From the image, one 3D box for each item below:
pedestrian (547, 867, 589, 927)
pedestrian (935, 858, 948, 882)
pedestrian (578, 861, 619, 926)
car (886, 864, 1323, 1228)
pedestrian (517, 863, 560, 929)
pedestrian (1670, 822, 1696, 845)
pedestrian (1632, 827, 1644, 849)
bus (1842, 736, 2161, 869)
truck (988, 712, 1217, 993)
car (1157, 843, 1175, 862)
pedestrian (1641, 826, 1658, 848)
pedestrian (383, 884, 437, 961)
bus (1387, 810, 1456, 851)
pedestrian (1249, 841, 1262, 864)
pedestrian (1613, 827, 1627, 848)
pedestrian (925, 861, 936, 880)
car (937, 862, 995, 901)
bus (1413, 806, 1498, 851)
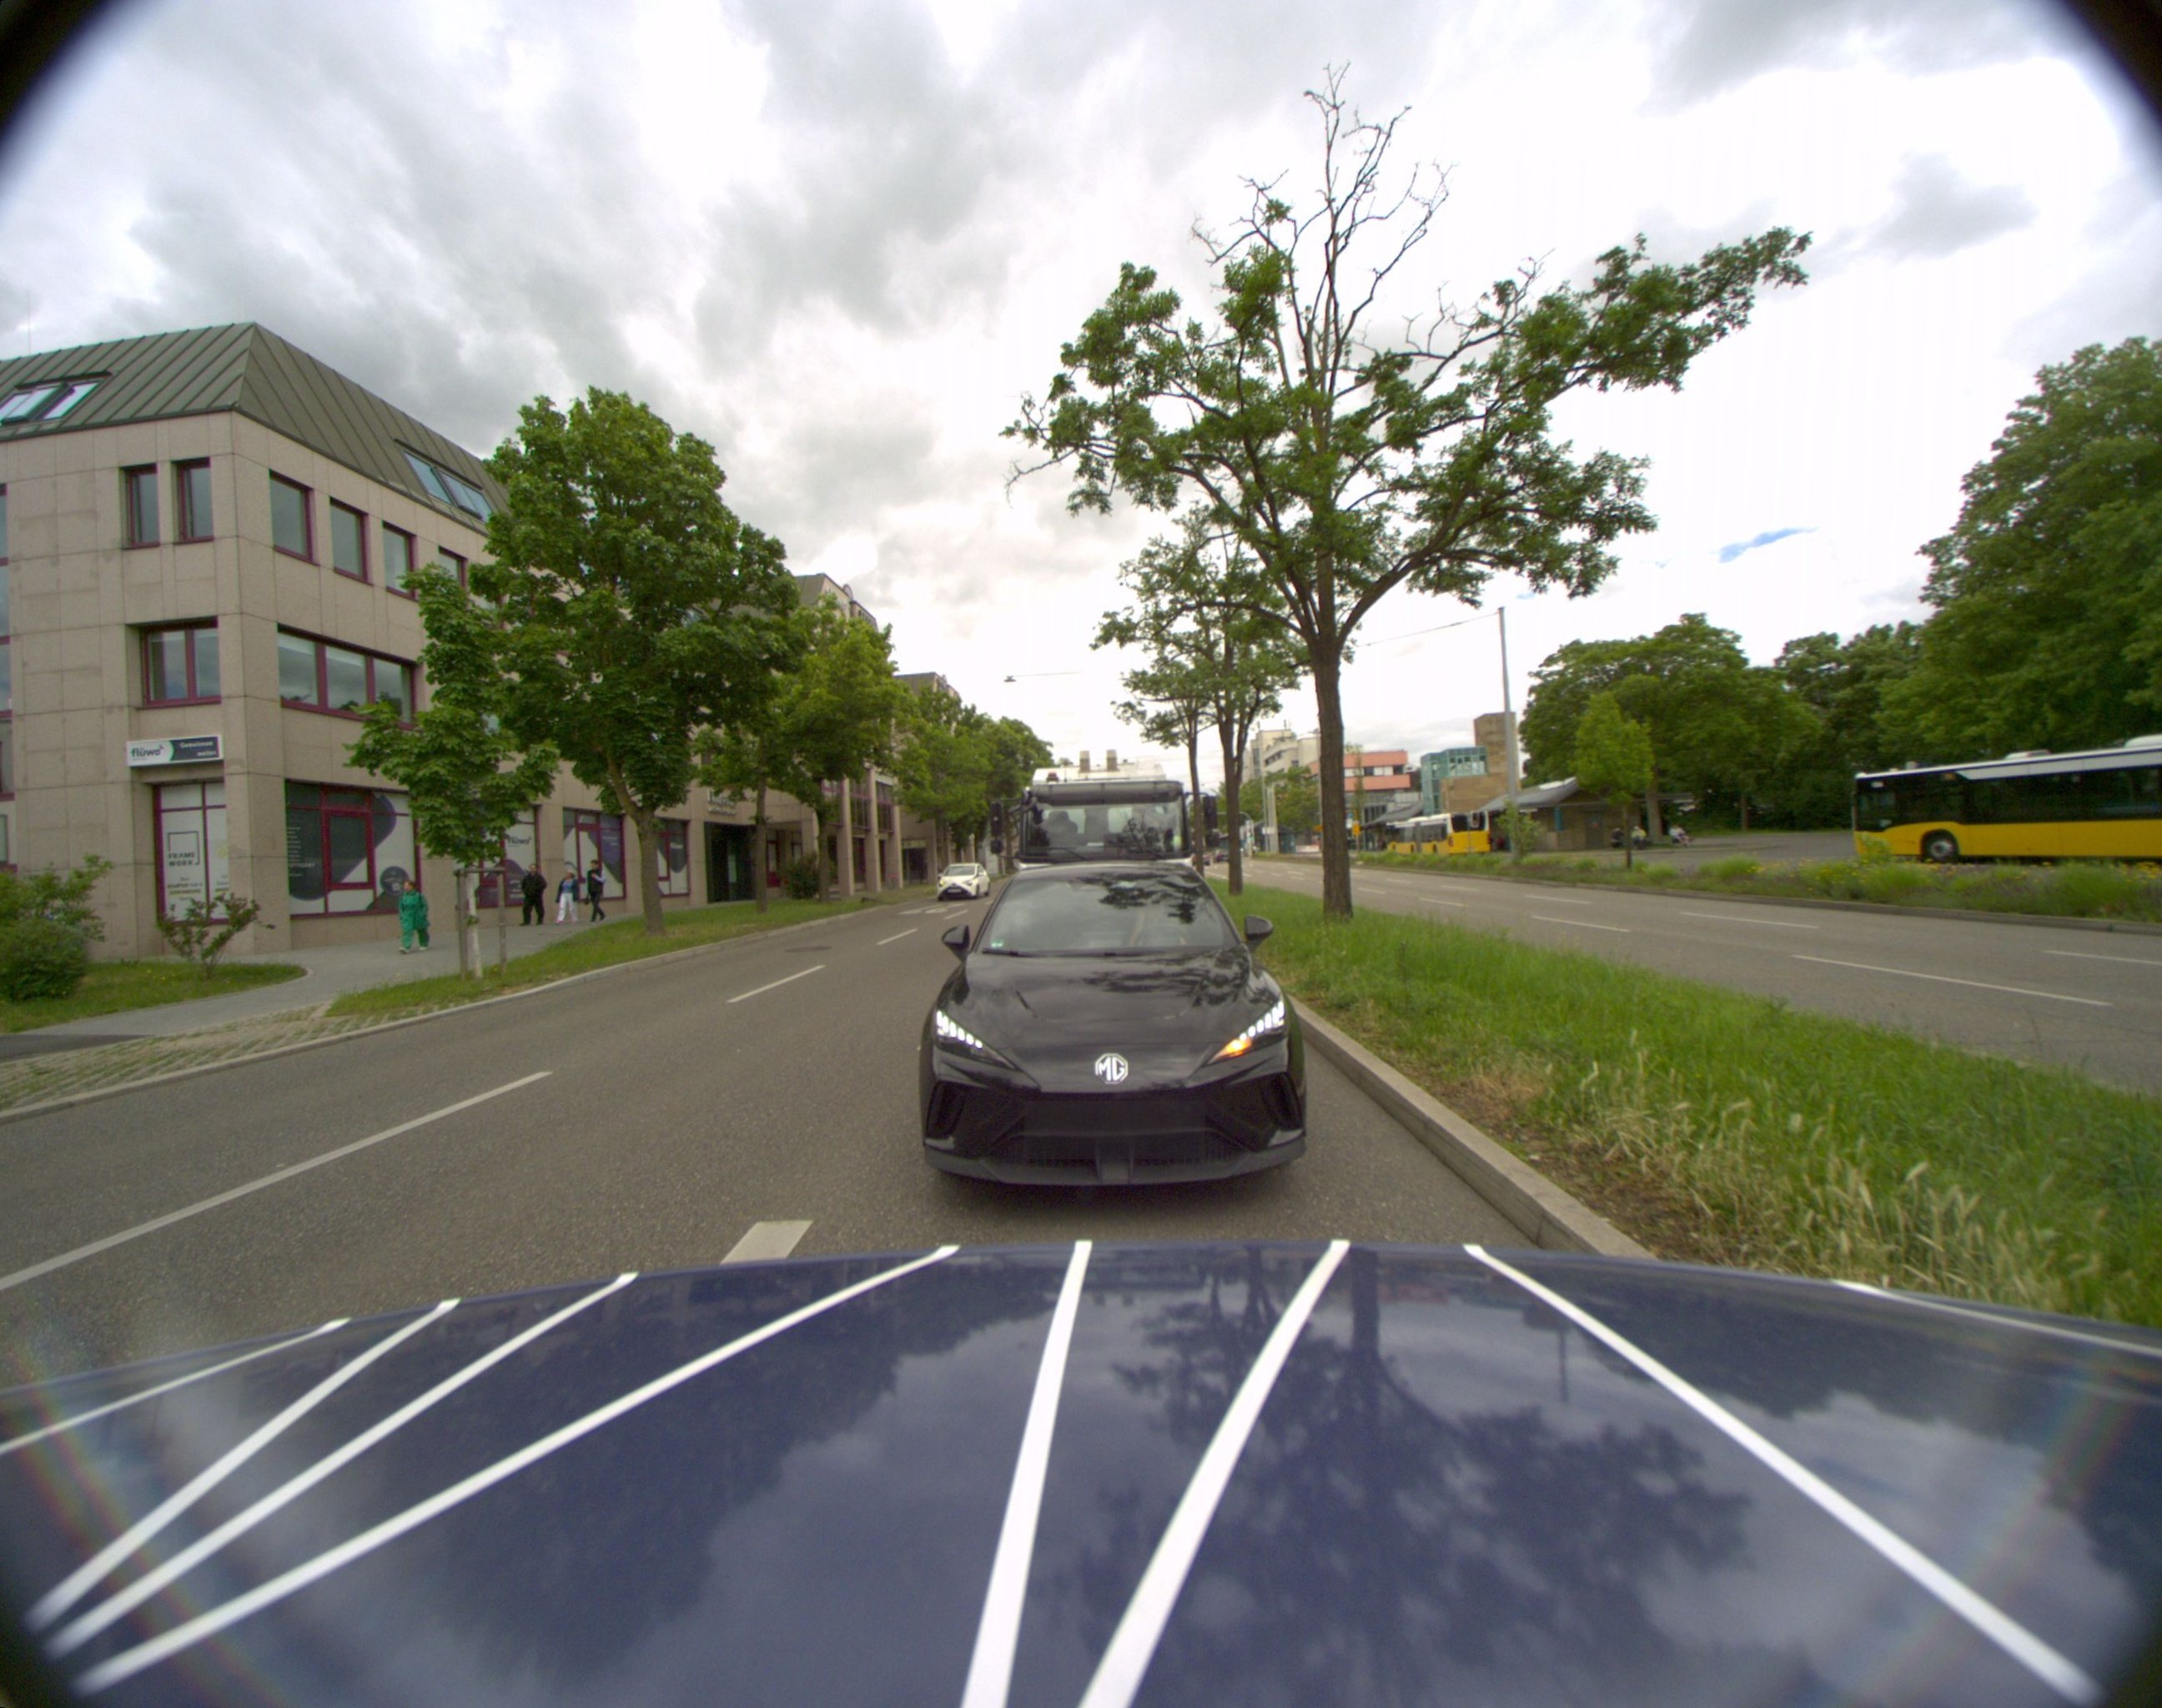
[{"bbox_3d":[-14.563,1.204,21.585,0.642,1.637,0.677,-3,1,1],"label":"pedestrian"},{"bbox_3d":[-10.554,1.193,57.536,0.719,1.811,0.949,-2,1,1],"label":"pedestrian"},{"bbox_3d":[-13.765,1.107,21.695,0.642,1.795,0.677,-3,1,1],"label":"pedestrian"},{"bbox_3d":[0.129,0.863,5.283,1.827,1.430,4.000,-3,0,1],"label":"car"},{"bbox_3d":[-15.276,1.168,21.415,0.642,1.795,0.677,-3,1,1],"label":"pedestrian"},{"bbox_3d":[31.964,-1.085,40.359,0.650,1.165,0.925,-2,1,1],"label":"pedestrian"},{"bbox_3d":[30.211,-0.893,41.243,0.367,1.160,0.899,-2,1,26],"label":"pedestrian"},{"bbox_3d":[25.935,-1.239,19.619,2.888,2.985,10.397,-3,0,6],"label":"bus"},{"bbox_3d":[0.366,-0.021,12.608,2.544,3.187,7.369,-3,0,2],"label":"truck"},{"bbox_3d":[9.454,-0.162,84.911,1.726,2.002,4.001,-3,0,3],"label":"car"},{"bbox_3d":[30.671,-0.907,40.985,0.598,1.155,0.744,-2,1,26],"label":"pedestrian"},{"bbox_3d":[-13.741,1.387,15.569,0.496,1.510,0.677,0,1,1],"label":"pedestrian"},{"bbox_3d":[27.637,-1.821,62.109,2.887,2.985,9.182,-3,0,10],"label":"bus"},{"bbox_3d":[21.417,-0.216,93.322,0.906,2.772,1.144,-3,1,-33],"label":"pedestrian"},{"bbox_3d":[30.744,-0.937,43.335,0.598,1.155,0.744,-2,1,32],"label":"pedestrian"},{"bbox_3d":[-11.445,1.234,57.746,0.607,1.397,0.640,-2,1,3],"label":"pedestrian"},{"bbox_3d":[-4.704,1.080,31.406,1.657,1.417,3.536,-2,0,3],"label":"car"},{"bbox_3d":[26.161,-1.670,53.610,2.887,2.793,9.182,-3,0,10],"label":"bus"}]
